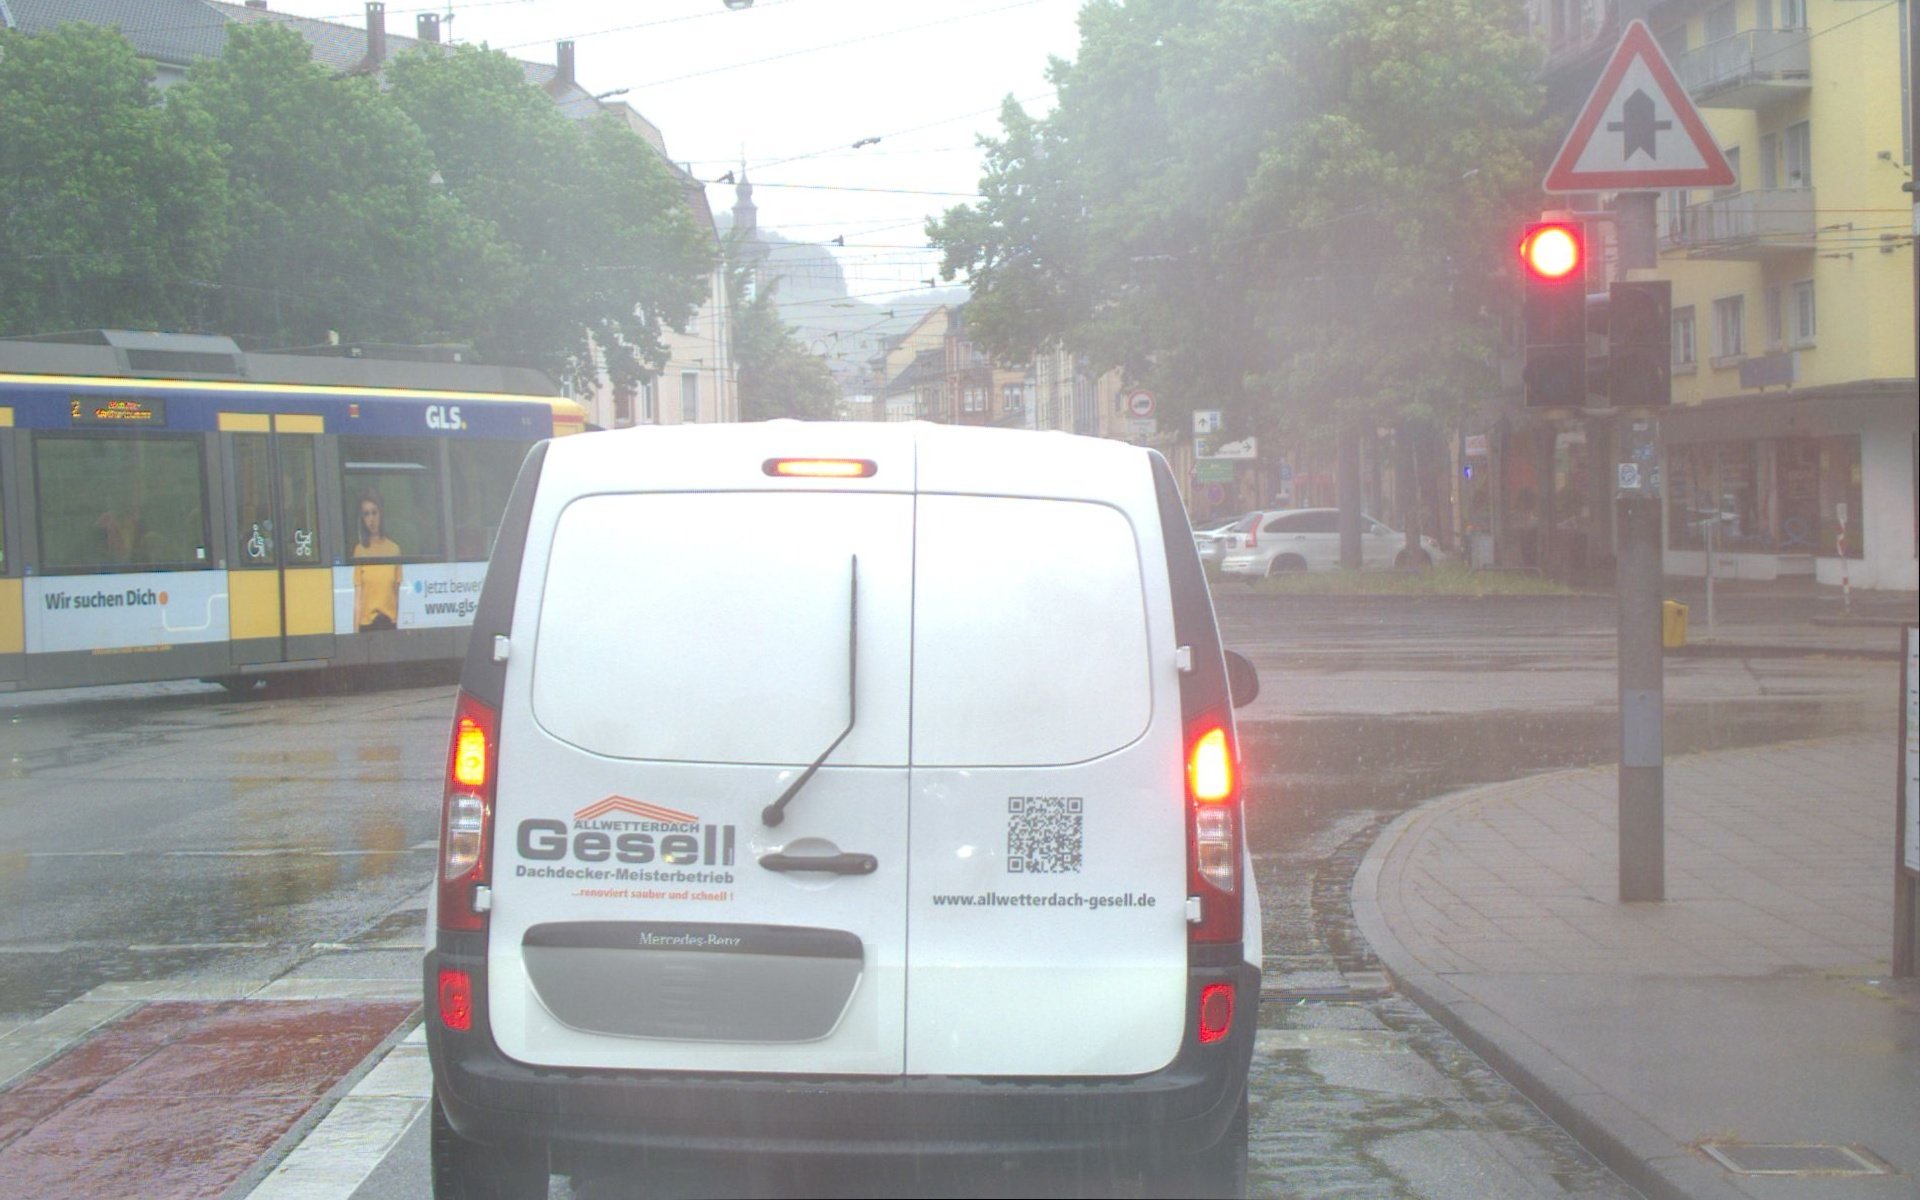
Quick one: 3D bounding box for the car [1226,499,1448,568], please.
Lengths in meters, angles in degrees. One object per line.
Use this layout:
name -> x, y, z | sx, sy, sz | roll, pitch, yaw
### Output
car -> 7.550, -1.344, 68.985 | 4.165, 1.334, 1.521 | -1, 2, -7

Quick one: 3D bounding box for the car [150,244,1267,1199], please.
car -> -0.501, 0.309, 8.983 | 2.100, 2.005, 4.963 | 0, 1, -1

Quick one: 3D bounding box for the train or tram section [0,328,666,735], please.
train or tram section -> -8.407, -0.625, 31.903 | 3.546, 3.401, 15.481 | 2, 1, 27

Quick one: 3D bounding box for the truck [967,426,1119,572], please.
truck -> 2.916, -3.638, 127.539 | 3.469, 5.070, 15.310 | 0, 1, -7

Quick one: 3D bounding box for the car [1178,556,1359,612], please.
car -> 6.330, -0.326, 70.677 | 3.441, 1.126, 1.472 | 0, 1, -8
